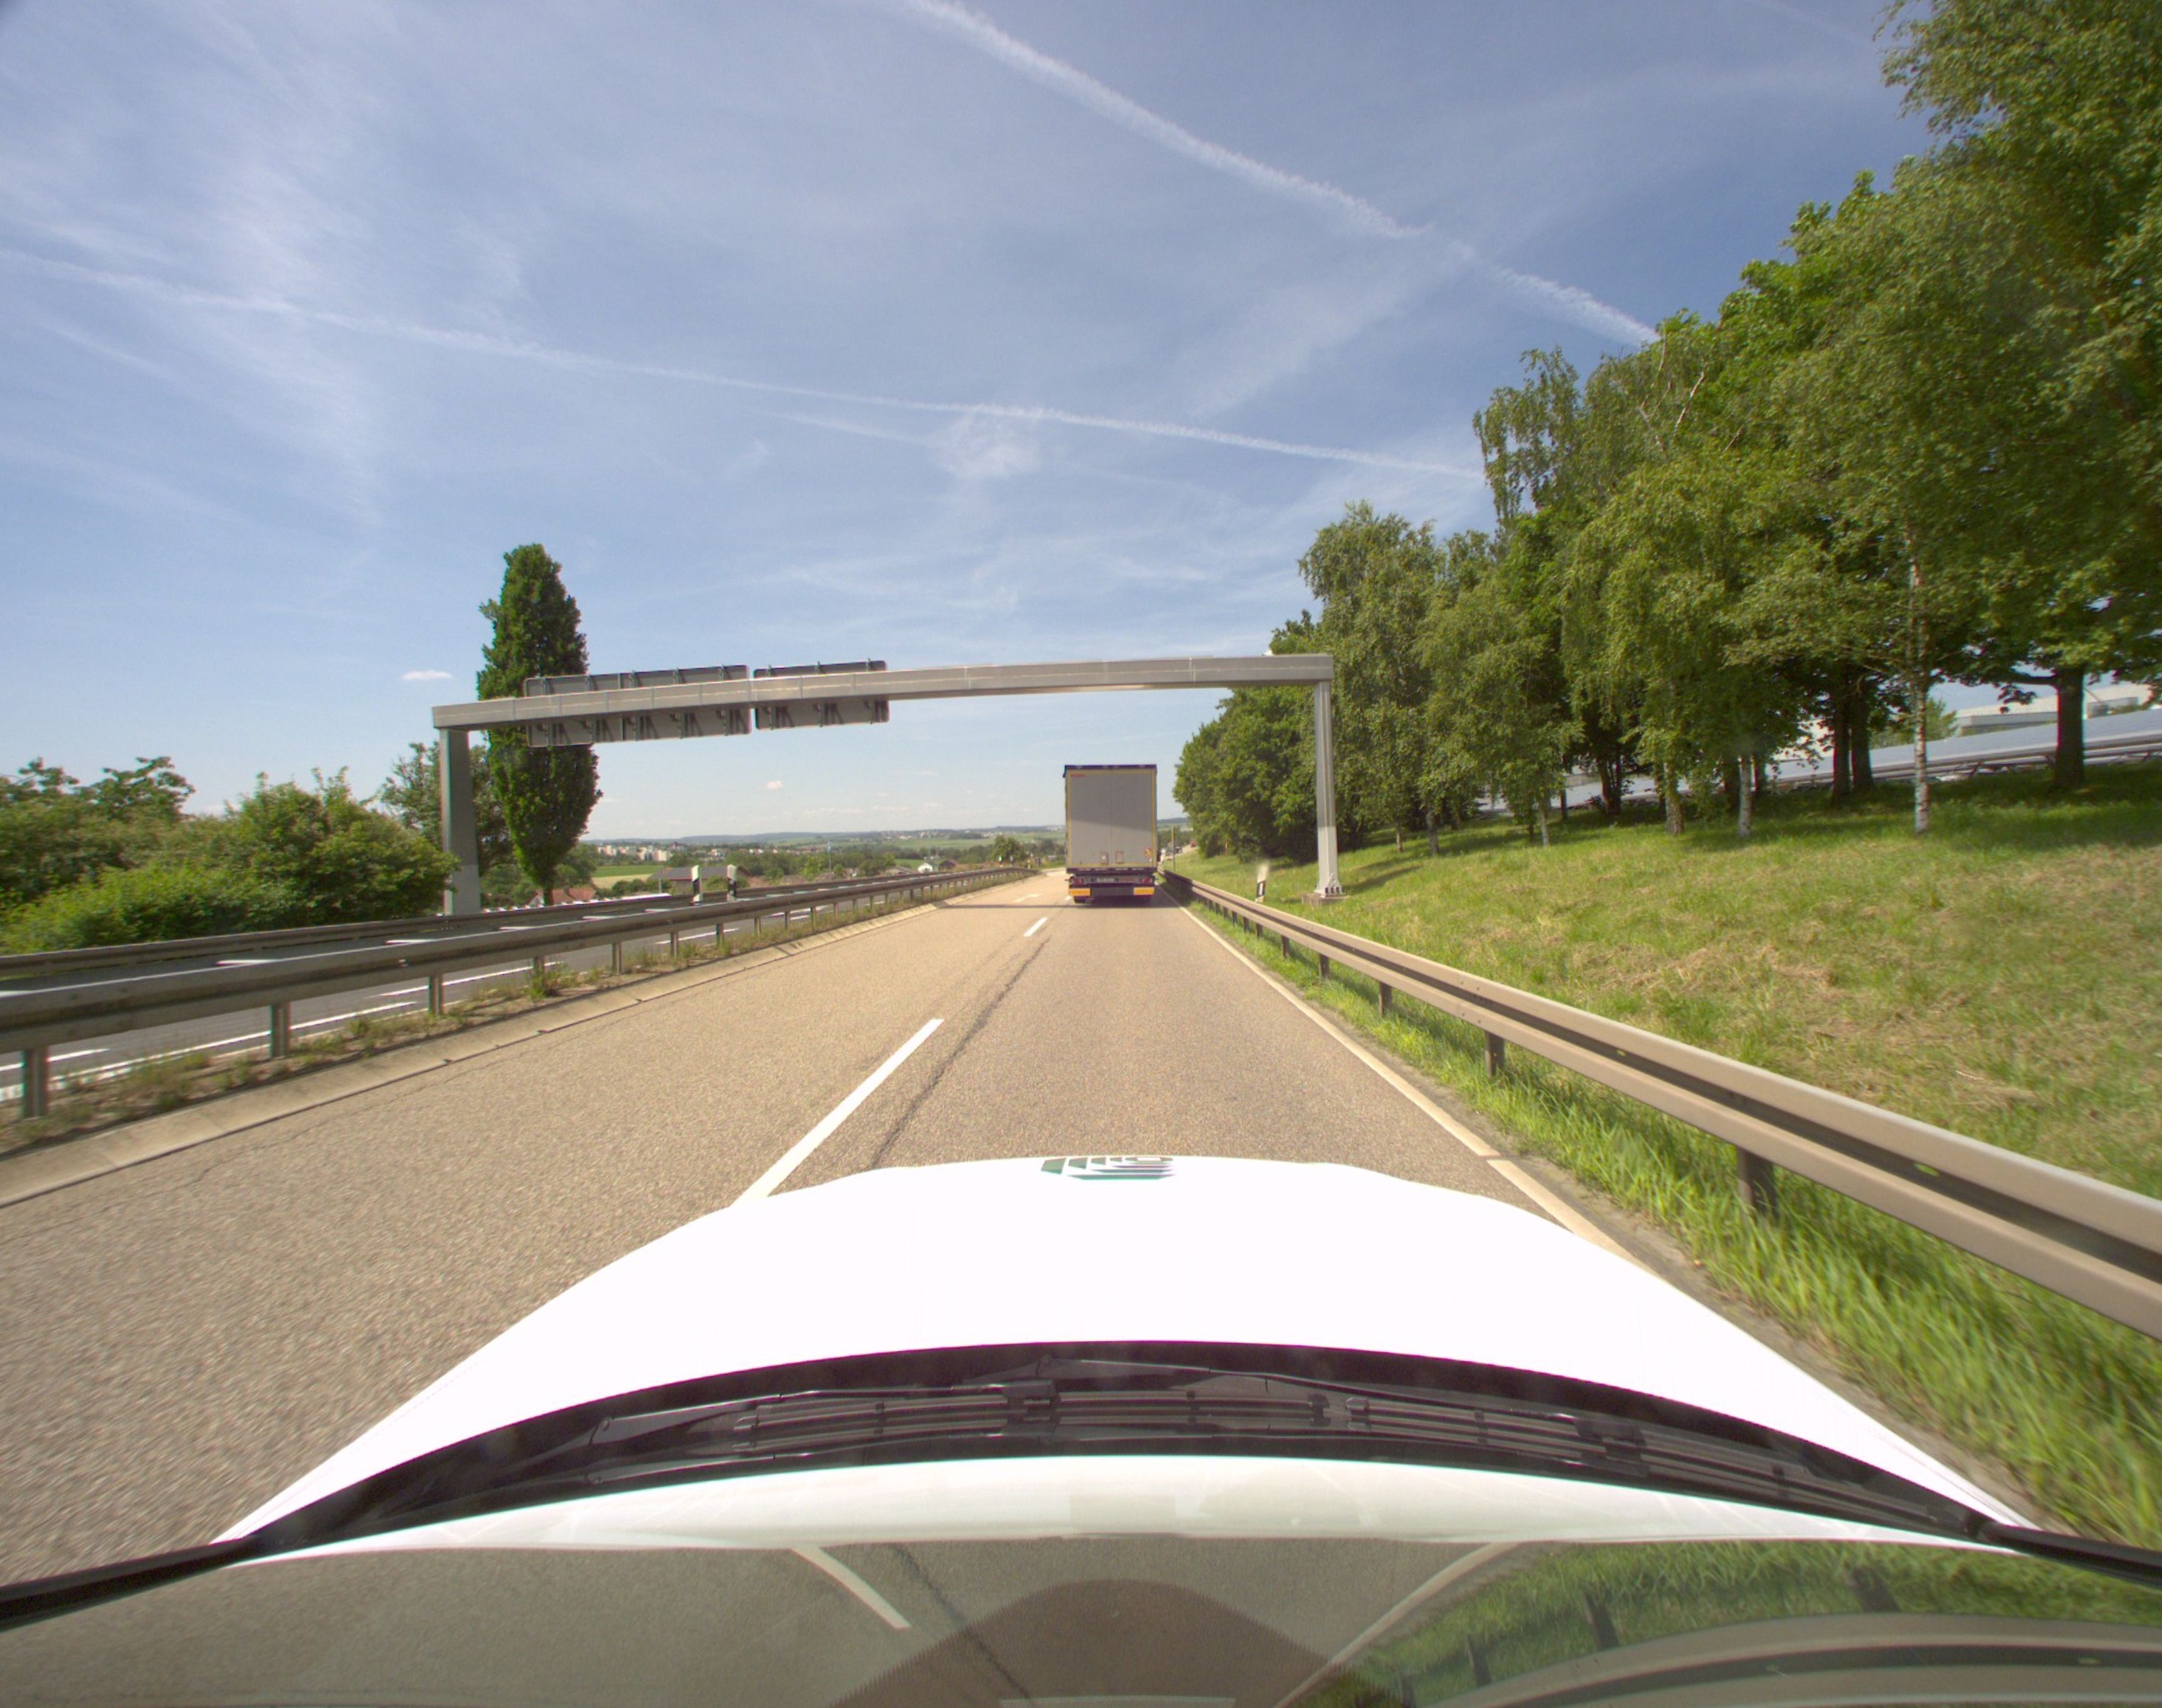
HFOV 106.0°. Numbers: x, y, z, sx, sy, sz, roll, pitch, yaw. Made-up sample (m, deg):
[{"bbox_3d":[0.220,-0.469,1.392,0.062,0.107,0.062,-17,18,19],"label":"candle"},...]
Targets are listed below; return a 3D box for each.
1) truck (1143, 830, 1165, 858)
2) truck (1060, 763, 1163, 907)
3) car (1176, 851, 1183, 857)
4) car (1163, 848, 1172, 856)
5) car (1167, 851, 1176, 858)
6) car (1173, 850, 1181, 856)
[{"bbox_3d":[10.613,-1.377,117.760,2.641,3.765,10.182,-1,-1,7],"label":"truck"},{"bbox_3d":[1.098,-0.536,28.026,2.788,3.929,11.349,0,0,3],"label":"truck"},{"bbox_3d":[29.381,-0.060,242.920,1.780,1.688,4.001,-1,-1,2],"label":"car"},{"bbox_3d":[19.378,-0.415,182.520,1.780,1.688,4.001,-1,-1,2],"label":"car"},{"bbox_3d":[22.518,0.074,202.592,1.780,1.688,4.001,-1,-1,2],"label":"car"},{"bbox_3d":[26.295,-0.279,223.715,1.780,1.688,4.001,-1,-1,2],"label":"car"}]
